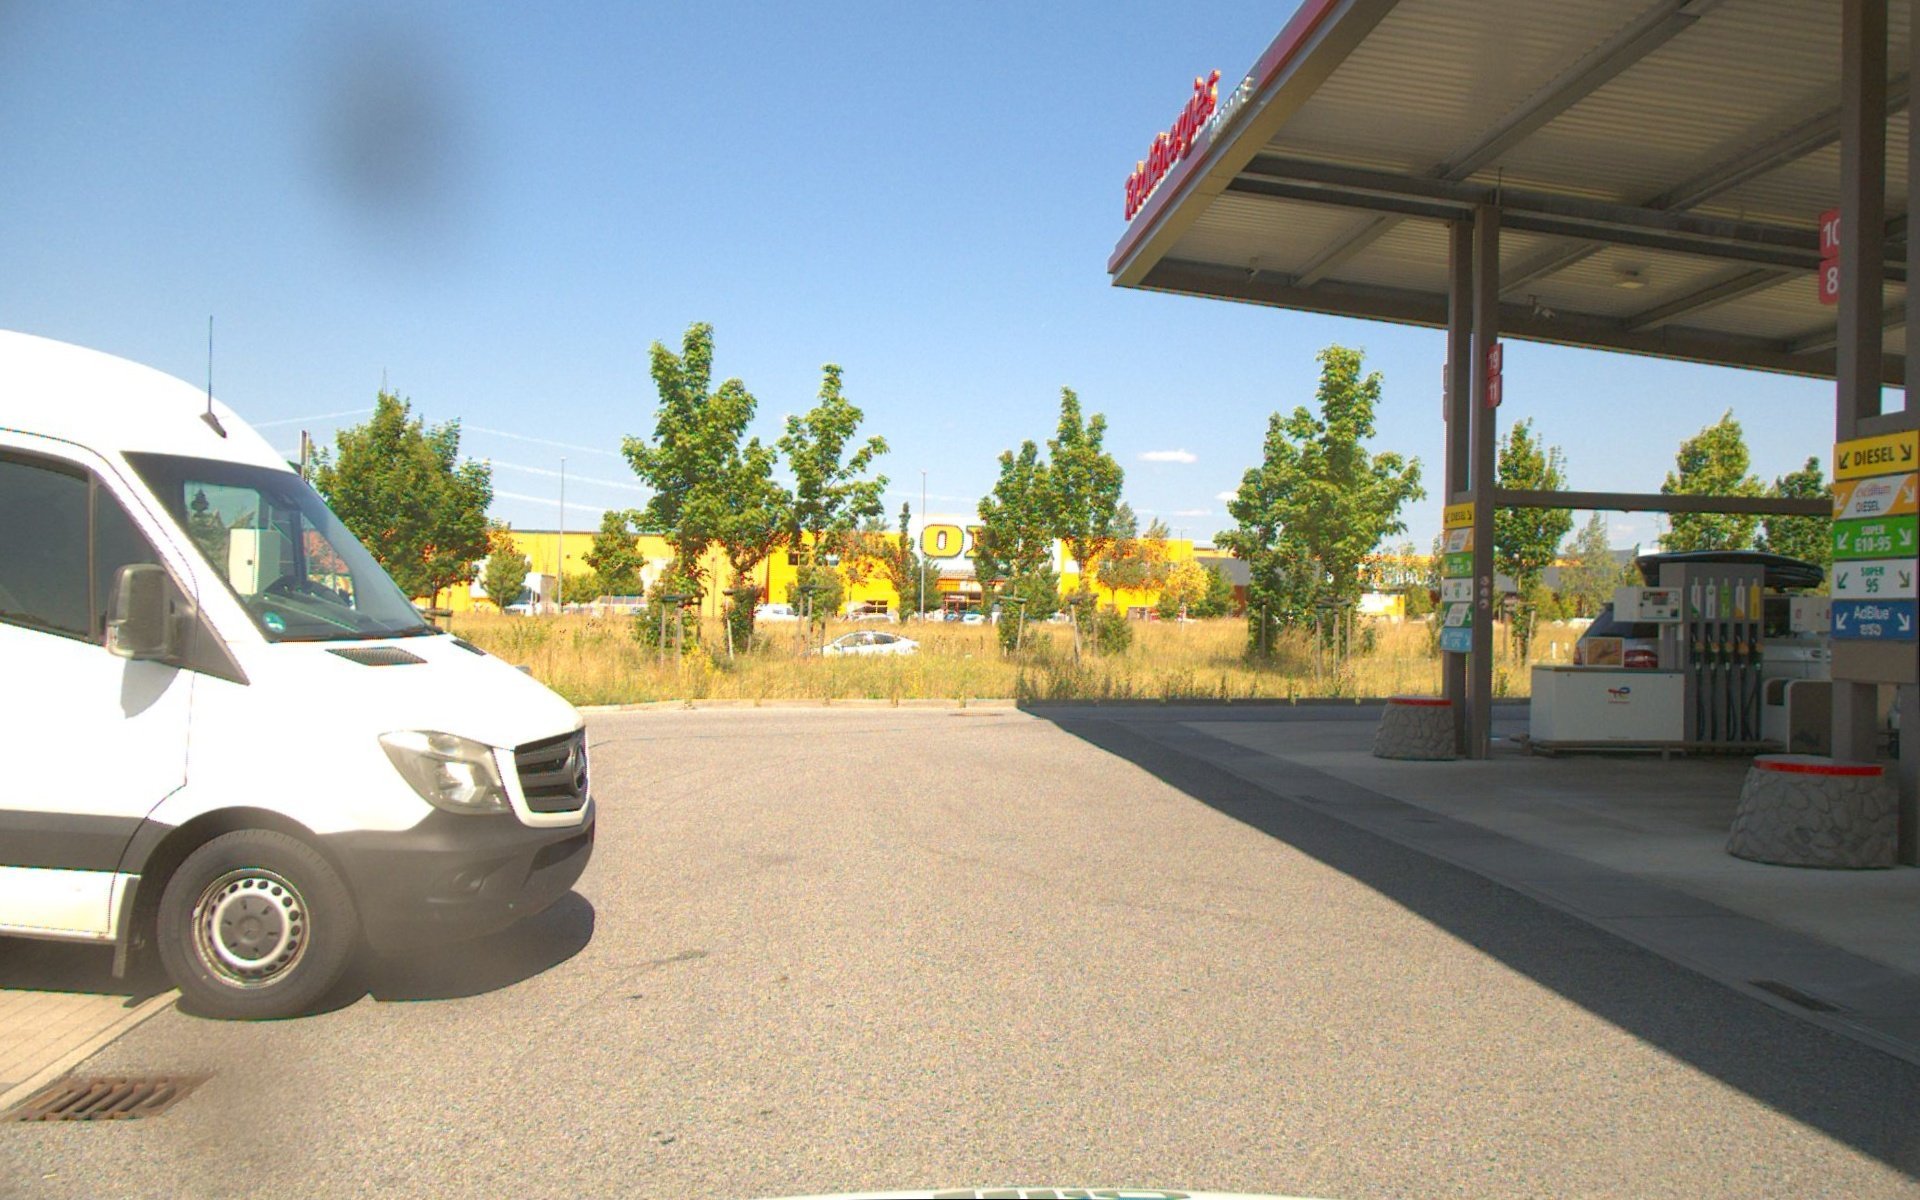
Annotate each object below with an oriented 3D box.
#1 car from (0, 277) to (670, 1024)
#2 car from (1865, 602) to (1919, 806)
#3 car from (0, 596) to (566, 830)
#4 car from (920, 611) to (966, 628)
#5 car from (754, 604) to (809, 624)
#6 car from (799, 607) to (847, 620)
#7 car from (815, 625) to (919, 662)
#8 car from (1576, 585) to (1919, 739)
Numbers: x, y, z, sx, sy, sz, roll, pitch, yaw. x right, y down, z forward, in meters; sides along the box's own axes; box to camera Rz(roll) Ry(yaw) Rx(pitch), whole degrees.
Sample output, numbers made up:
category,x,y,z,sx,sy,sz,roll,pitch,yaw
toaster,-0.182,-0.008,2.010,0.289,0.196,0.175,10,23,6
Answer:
category,x,y,z,sx,sy,sz,roll,pitch,yaw
car,-4.908,0.085,7.049,6.863,2.616,2.000,2,-1,2
car,9.501,0.801,12.676,4.226,1.568,1.784,0,0,-4
car,-5.080,0.738,11.596,4.222,1.453,1.792,1,-1,-4
car,-1.501,1.749,148.774,4.073,1.496,1.670,0,-1,-3
car,-14.523,1.130,134.688,4.283,1.575,1.793,0,-1,-3
car,-11.357,1.121,137.374,3.875,1.133,1.697,0,-1,-3
car,-3.328,1.560,59.302,3.656,1.322,1.485,0,-1,-3
car,9.882,0.703,19.720,4.437,1.717,1.862,0,0,-9
